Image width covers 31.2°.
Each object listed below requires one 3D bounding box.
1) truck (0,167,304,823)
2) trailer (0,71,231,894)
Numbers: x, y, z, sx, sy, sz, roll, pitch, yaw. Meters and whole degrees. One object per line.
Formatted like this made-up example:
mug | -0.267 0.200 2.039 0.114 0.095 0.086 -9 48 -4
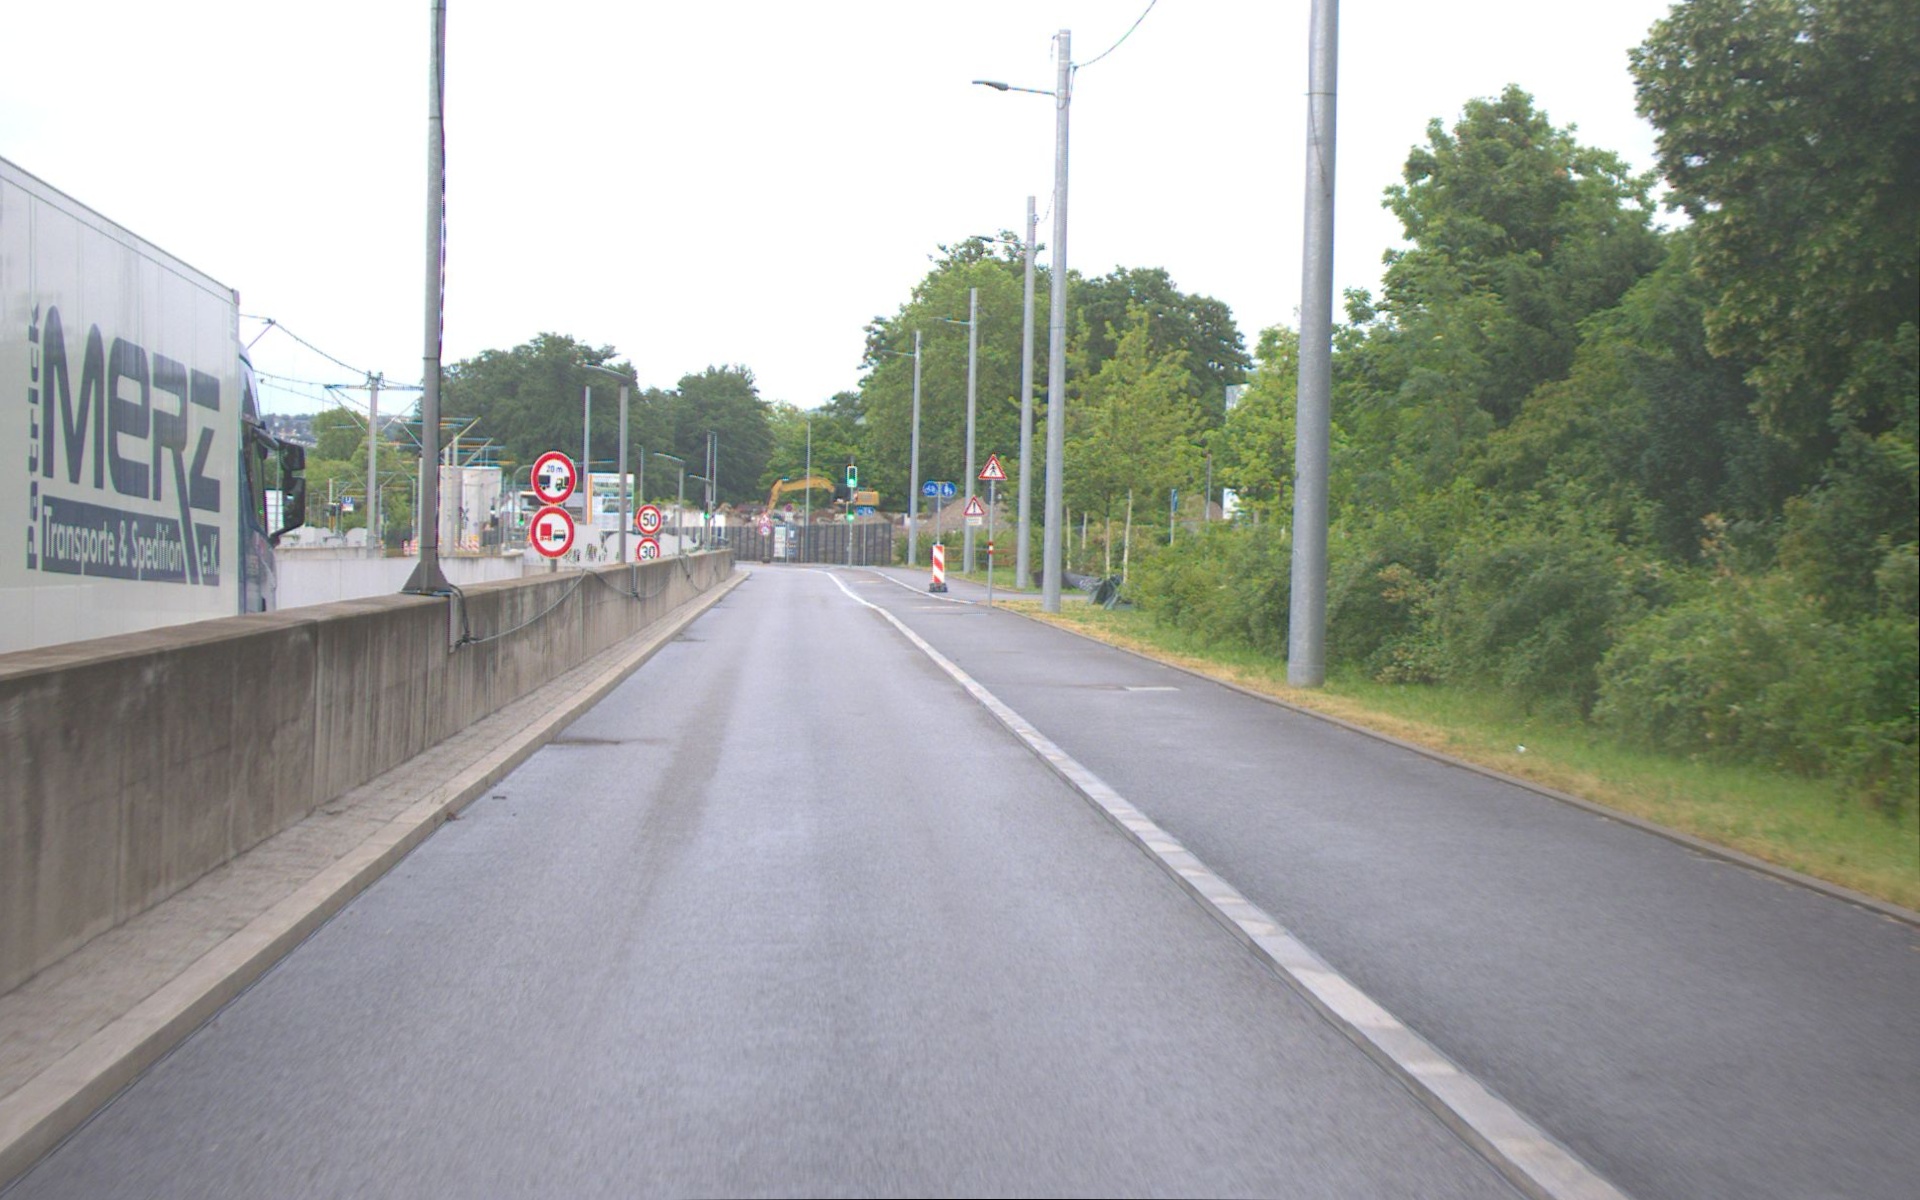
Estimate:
truck | -6.657 -0.743 25.101 2.756 4.190 6.307 0 1 -2
trailer | -6.335 -0.608 17.903 2.762 4.238 13.185 0 1 -2
